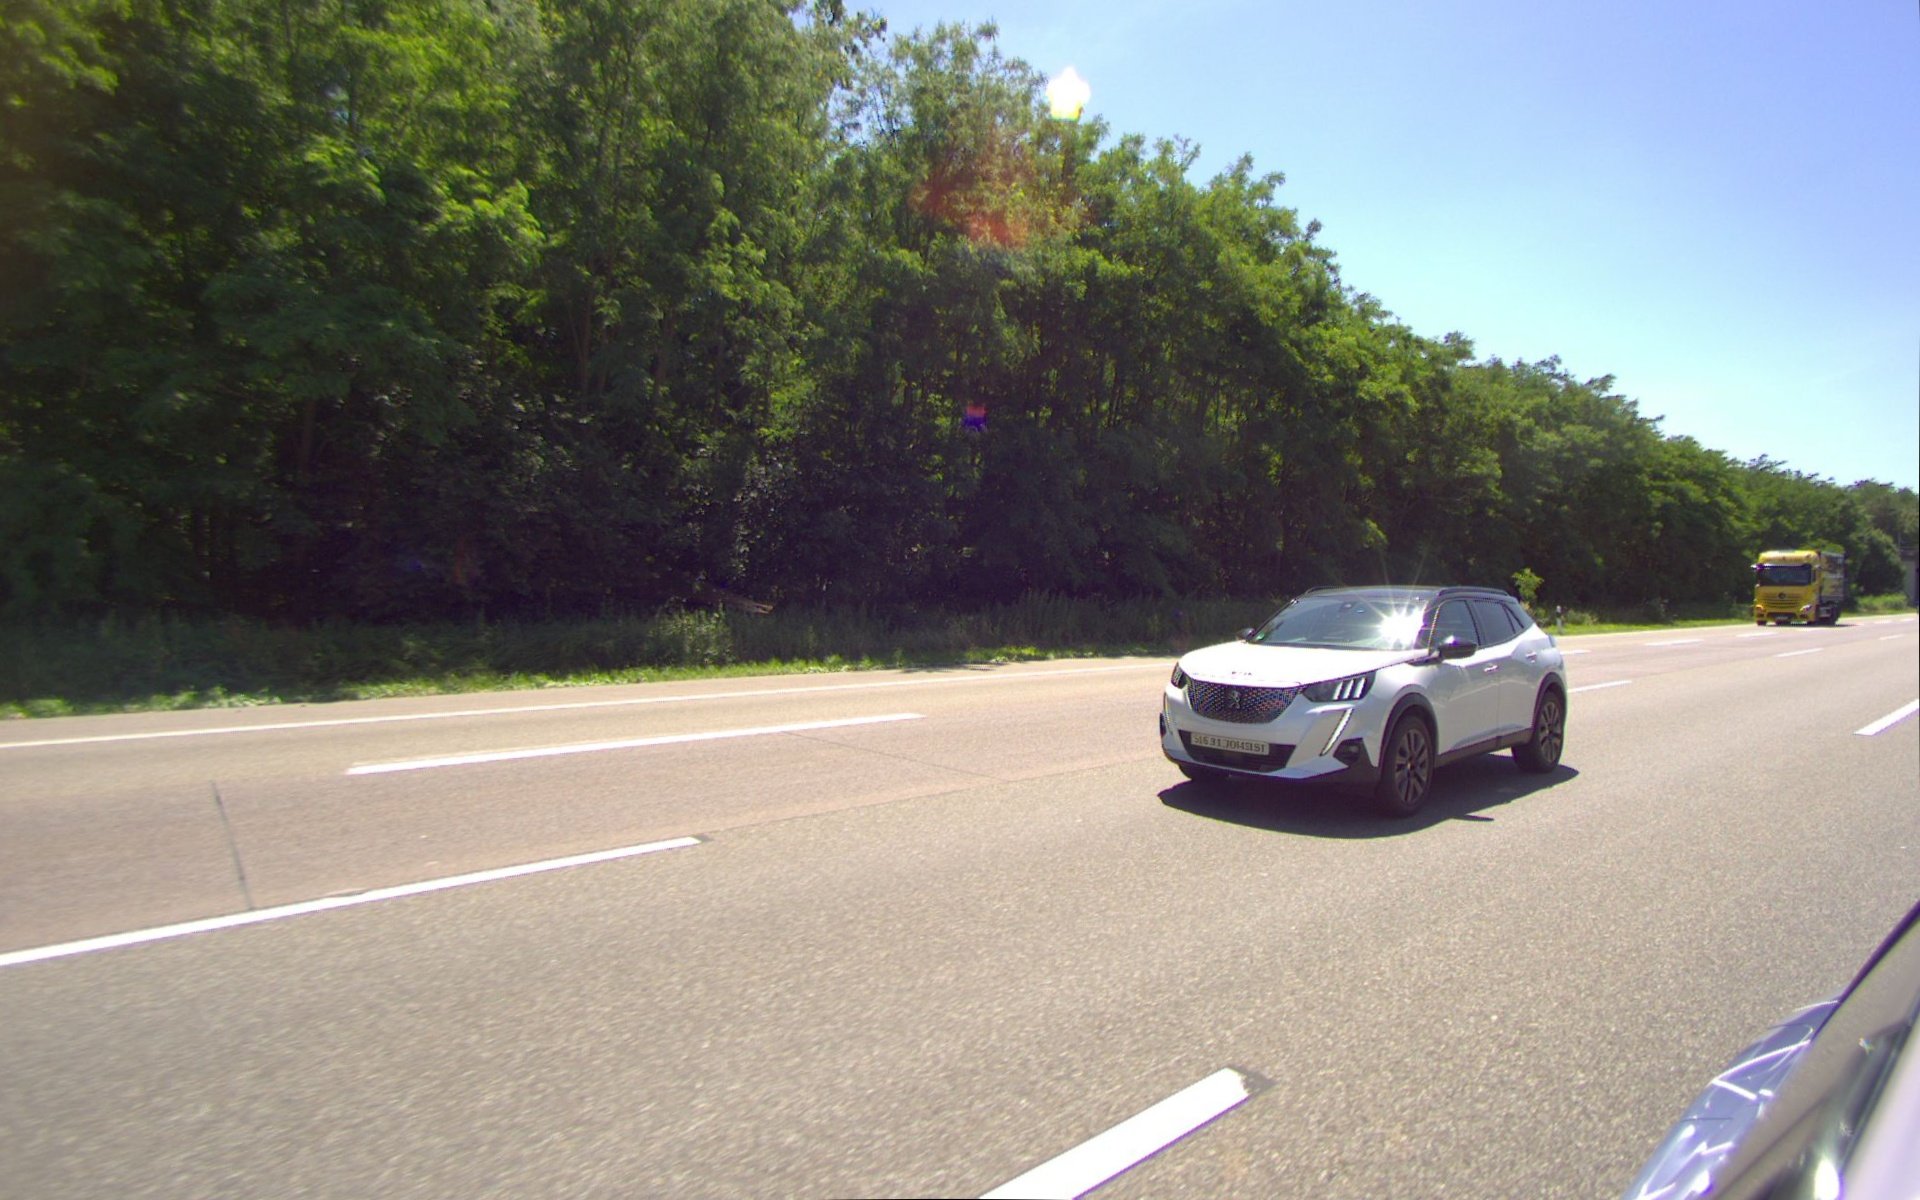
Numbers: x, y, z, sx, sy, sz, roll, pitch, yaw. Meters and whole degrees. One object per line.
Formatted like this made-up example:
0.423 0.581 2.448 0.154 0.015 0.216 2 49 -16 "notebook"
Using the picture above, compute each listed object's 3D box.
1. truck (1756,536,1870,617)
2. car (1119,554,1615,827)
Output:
47.485 -1.226 56.178 10.786 4.088 2.980 0 0 -40 "truck"
3.539 0.507 8.288 4.725 1.628 1.830 0 1 -41 "car"
